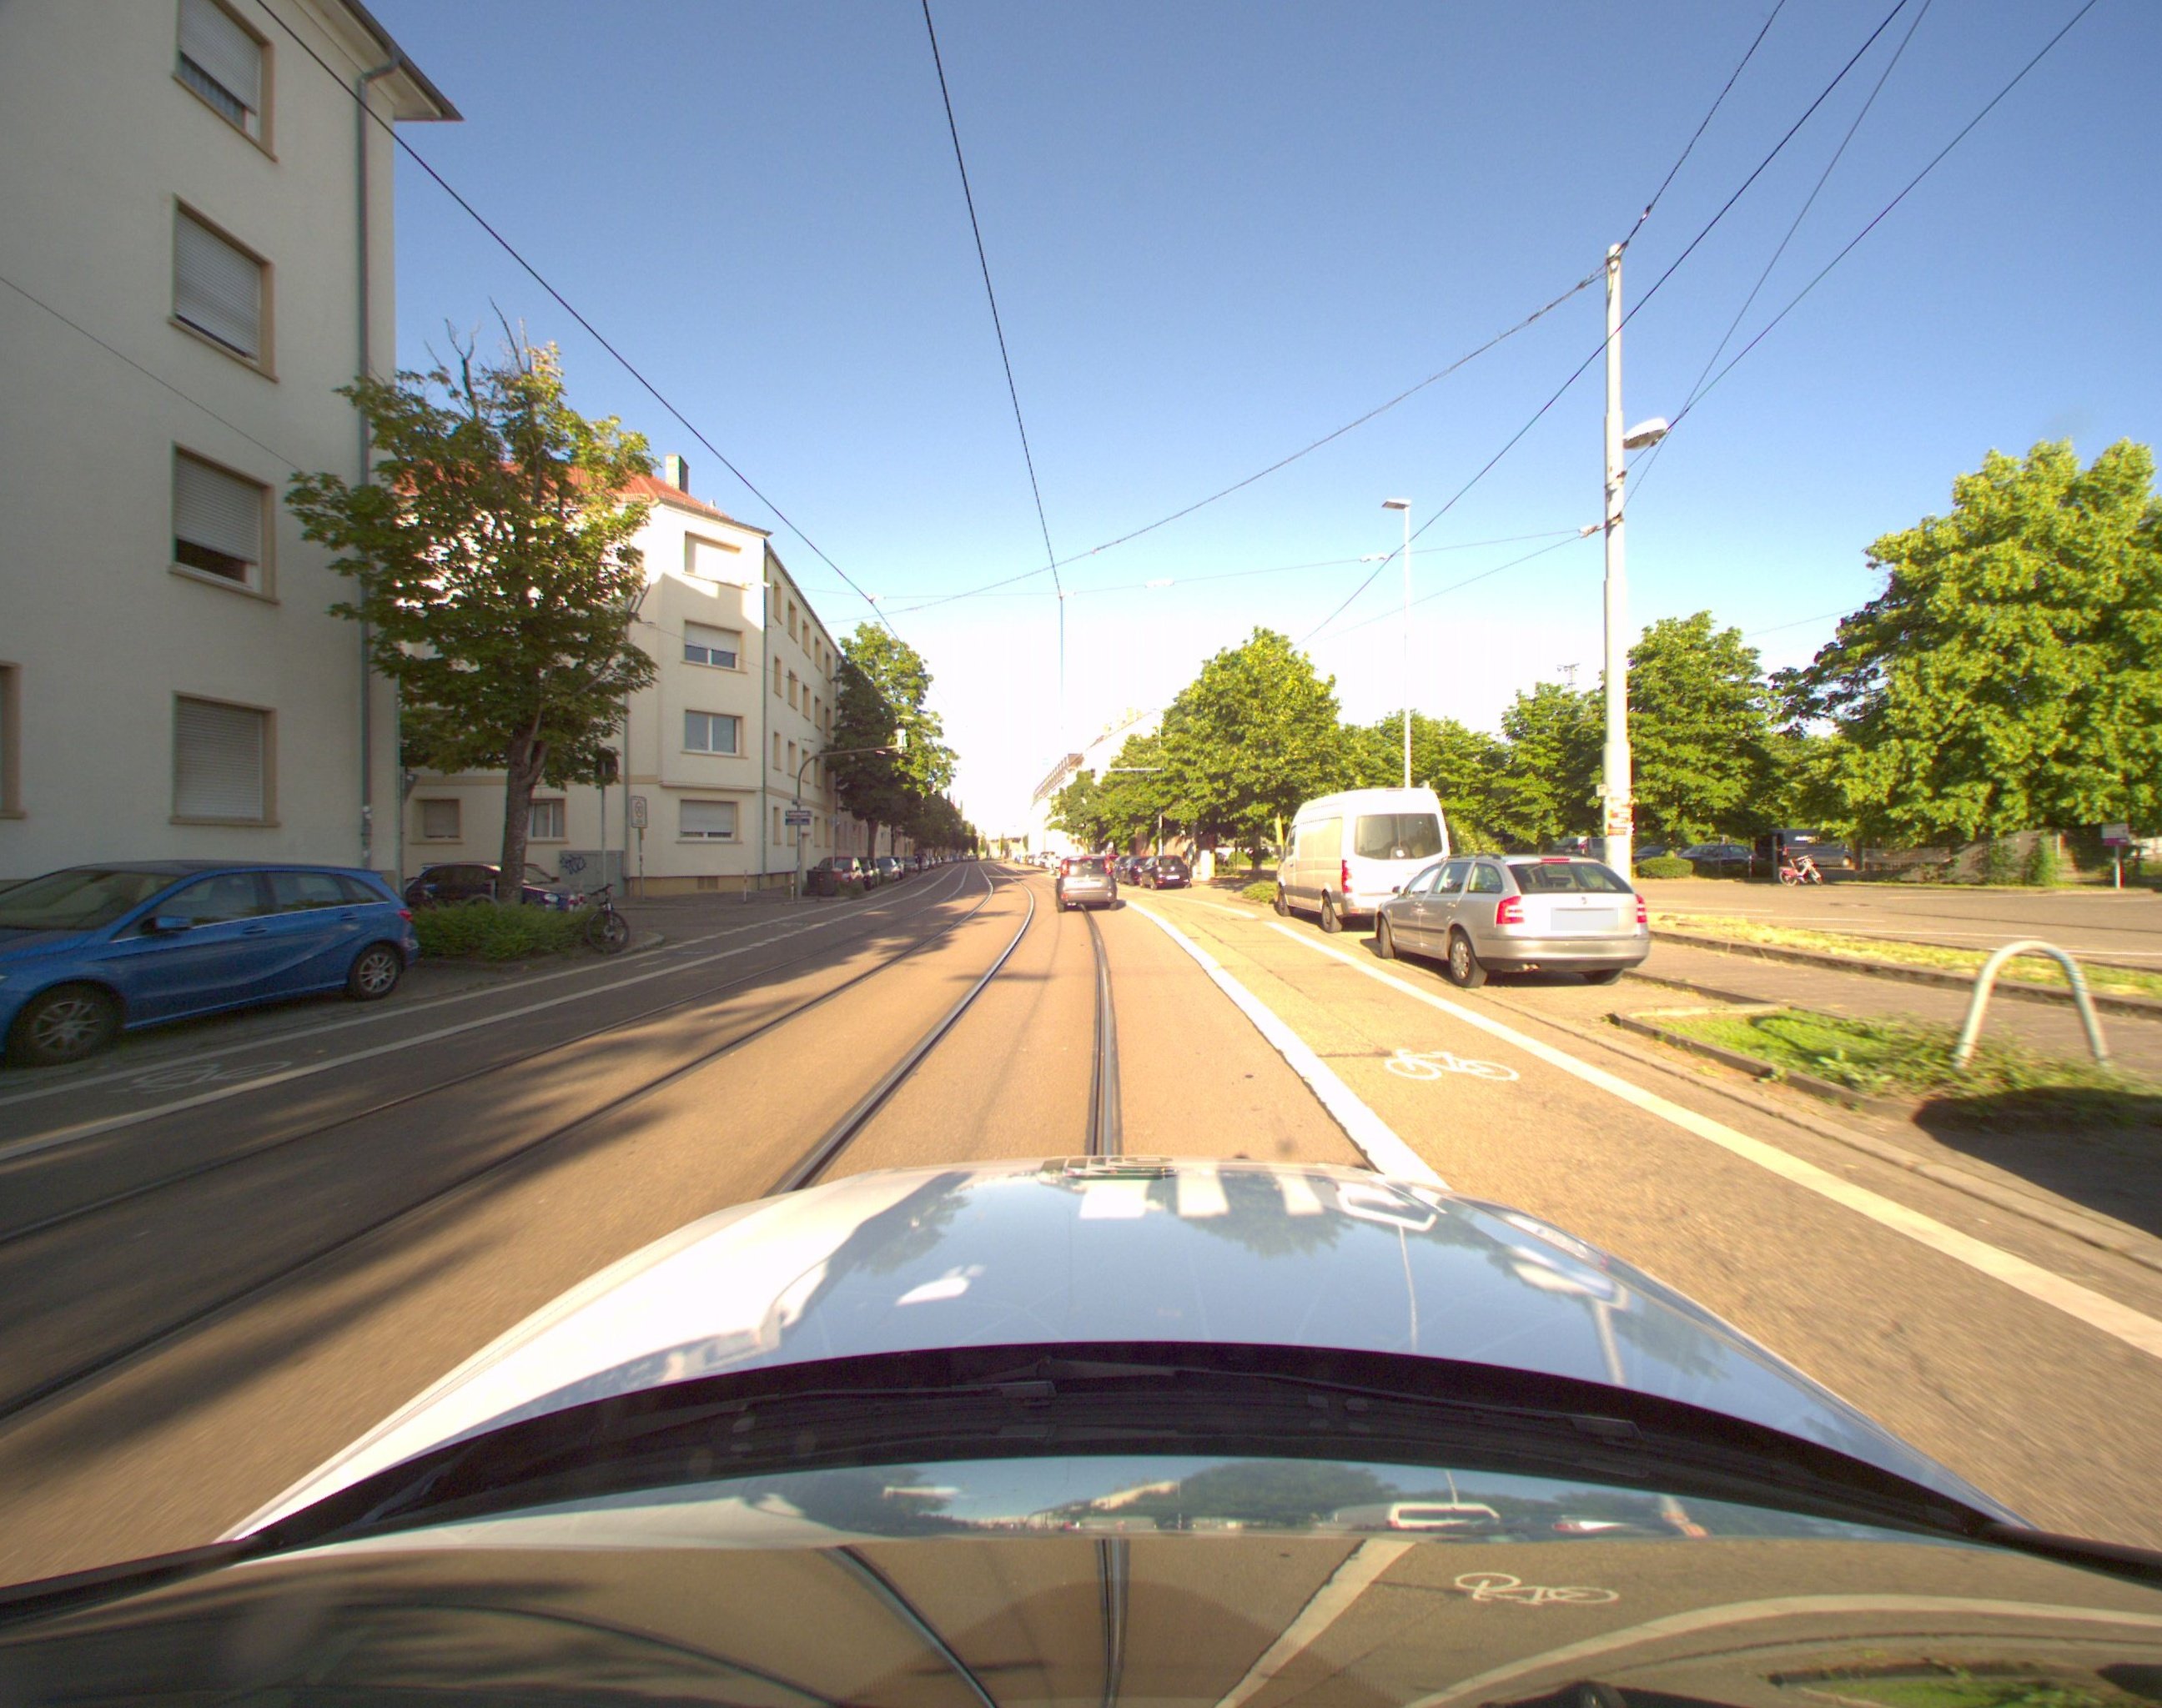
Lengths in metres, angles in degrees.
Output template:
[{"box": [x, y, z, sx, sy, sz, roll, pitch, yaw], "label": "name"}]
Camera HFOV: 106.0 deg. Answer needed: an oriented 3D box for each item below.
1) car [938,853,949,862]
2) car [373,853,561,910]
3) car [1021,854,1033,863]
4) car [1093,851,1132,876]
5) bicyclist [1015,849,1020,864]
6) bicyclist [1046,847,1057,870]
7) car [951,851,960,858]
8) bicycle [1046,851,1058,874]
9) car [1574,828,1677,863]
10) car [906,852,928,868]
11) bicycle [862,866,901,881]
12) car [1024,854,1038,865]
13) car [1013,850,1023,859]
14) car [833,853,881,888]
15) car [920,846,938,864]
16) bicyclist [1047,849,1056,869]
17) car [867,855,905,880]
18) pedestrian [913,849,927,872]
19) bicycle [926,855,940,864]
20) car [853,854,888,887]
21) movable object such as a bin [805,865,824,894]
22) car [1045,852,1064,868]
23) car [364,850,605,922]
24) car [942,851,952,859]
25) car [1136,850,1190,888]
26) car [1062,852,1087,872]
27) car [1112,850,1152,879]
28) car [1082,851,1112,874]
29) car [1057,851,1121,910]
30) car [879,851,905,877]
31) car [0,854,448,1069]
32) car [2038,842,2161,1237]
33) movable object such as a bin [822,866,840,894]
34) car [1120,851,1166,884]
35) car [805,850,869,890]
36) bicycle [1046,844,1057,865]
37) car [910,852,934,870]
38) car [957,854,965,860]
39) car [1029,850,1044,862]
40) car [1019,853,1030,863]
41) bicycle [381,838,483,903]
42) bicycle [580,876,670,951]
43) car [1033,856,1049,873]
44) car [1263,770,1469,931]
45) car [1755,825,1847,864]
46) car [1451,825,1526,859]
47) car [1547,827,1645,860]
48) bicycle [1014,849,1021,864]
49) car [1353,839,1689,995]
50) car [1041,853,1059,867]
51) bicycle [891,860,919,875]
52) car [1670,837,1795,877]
[{"box": [-24.531, 0.633, 145.471, 1.705, 1.497, 3.713, 1, 0, -7], "label": "car"}, {"box": [-17.871, 0.778, 23.858, 3.974, 1.530, 1.907, 1, 0, 0], "label": "car"}, {"box": [-8.515, 0.662, 127.800, 1.582, 1.405, 3.366, 1, 0, -9], "label": "car"}, {"box": [1.986, 0.580, 52.963, 1.689, 1.530, 3.986, -2, 0, -10], "label": "car"}, {"box": [-8.940, 0.355, 114.619, 0.715, 2.014, 0.829, 1, 0, -9], "label": "bicyclist"}, {"box": [-2.229, 0.318, 62.007, 0.699, 1.759, 0.755, 1, 0, -9], "label": "bicyclist"}, {"box": [-26.755, 0.171, 174.044, 1.705, 1.497, 3.713, 1, 0, -7], "label": "car"}, {"box": [-2.243, 0.660, 62.176, 0.675, 1.747, 2.151, 1, 0, -8], "label": "bicycle"}, {"box": [30.428, -0.455, 45.578, 4.677, 1.816, 1.958, 1, 0, -7], "label": "car"}, {"box": [-16.667, 0.615, 82.958, 1.807, 1.508, 4.668, 1, 0, -8], "label": "car"}, {"box": [-11.379, 1.132, 46.476, 2.126, 0.824, 0.476, 1, 0, -9], "label": "bicycle"}, {"box": [-7.106, 0.802, 115.529, 1.582, 1.405, 3.366, -4, 0, -9], "label": "car"}, {"box": [-12.361, 0.083, 159.719, 1.582, 1.599, 3.366, 1, 0, -9], "label": "car"}, {"box": [-10.461, 0.743, 38.245, 1.786, 1.530, 3.844, 1, 0, -10], "label": "car"}, {"box": [-16.884, 0.099, 90.628, 1.807, 1.943, 4.322, 1, 0, -8], "label": "car"}, {"box": [-2.604, 0.457, 71.374, 0.699, 1.759, 0.755, 1, 0, -9], "label": "bicyclist"}, {"box": [-11.922, 0.806, 49.971, 1.687, 1.475, 4.649, 1, 0, -6], "label": "car"}, {"box": [-12.412, 0.481, 62.711, 0.854, 1.776, 0.729, -2, 1, -28], "label": "pedestrian"}, {"box": [-19.749, 0.778, 108.604, 1.729, 1.196, 0.371, 1, 0, -12], "label": "bicycle"}, {"box": [-10.922, 0.833, 42.485, 1.592, 1.614, 3.716, 1, 0, -12], "label": "car"}, {"box": [-9.384, 0.894, 28.730, 0.484, 0.987, 0.658, 1, 0, -5], "label": "movable object such as a bin"}, {"box": [-2.793, 0.615, 86.014, 1.654, 1.571, 3.489, 1, 0, -8], "label": "car"}, {"box": [-12.911, 0.675, 17.824, 3.876, 1.458, 1.767, 1, 0, -2], "label": "car"}, {"box": [-26.335, 0.255, 160.195, 1.705, 1.497, 3.713, 1, 0, -7], "label": "car"}, {"box": [3.613, 0.637, 36.426, 1.686, 1.530, 3.994, -2, 0, -4], "label": "car"}, {"box": [-0.530, 0.649, 67.775, 1.634, 1.508, 3.388, -3, 0, -7], "label": "car"}, {"box": [2.820, 0.587, 46.070, 1.686, 1.530, 3.994, -2, 0, -4], "label": "car"}, {"box": [1.119, 0.588, 58.547, 1.686, 1.530, 3.994, -2, 0, -4], "label": "car"}, {"box": [0.281, 0.682, 23.111, 1.643, 1.541, 4.237, 0, 0, 2], "label": "car"}, {"box": [-12.897, 0.649, 55.716, 1.652, 1.668, 4.279, 1, 0, -12], "label": "car"}, {"box": [-8.766, 0.794, 7.703, 1.784, 1.561, 4.644, 1, 0, 2], "label": "car"}, {"box": [4.917, 0.687, 1.361, 1.721, 1.512, 4.254, -2, 0, 2], "label": "car"}, {"box": [-8.850, 0.909, 28.824, 0.484, 0.987, 0.658, 1, 0, -5], "label": "movable object such as a bin"}, {"box": [3.087, 0.654, 41.371, 1.686, 1.530, 4.348, -2, 0, -4], "label": "car"}, {"box": [-9.985, 0.636, 33.610, 1.685, 1.530, 3.994, 1, 0, -4], "label": "car"}, {"box": [-2.568, 0.049, 71.266, 0.675, 1.747, 2.151, 1, 0, -8], "label": "bicycle"}, {"box": [-14.306, 0.609, 73.479, 1.807, 1.508, 4.180, 1, 0, -8], "label": "car"}, {"box": [-27.851, 0.717, 189.642, 1.705, 1.497, 3.713, 1, 0, -7], "label": "car"}, {"box": [-5.886, 0.301, 107.465, 1.655, 1.500, 3.121, 1, 0, -8], "label": "car"}, {"box": [-9.380, 0.639, 134.335, 1.582, 1.599, 3.366, 1, 0, -9], "label": "car"}, {"box": [-12.554, 0.331, 15.782, 1.499, 1.229, 0.396, 1, -3, -7], "label": "bicycle"}, {"box": [-7.758, 0.970, 13.951, 0.511, 1.134, 2.028, 1, 0, -4], "label": "bicycle"}, {"box": [-4.999, 1.288, 101.381, 1.654, 1.944, 4.651, 1, 0, -8], "label": "car"}, {"box": [5.593, -0.054, 17.062, 2.172, 2.665, 6.092, -2, 0, 1], "label": "car"}, {"box": [43.713, -0.583, 49.500, 4.188, 2.301, 2.064, -1, 0, -10], "label": "car"}, {"box": [28.062, -0.823, 56.134, 4.188, 2.241, 2.136, -1, 0, -10], "label": "car"}, {"box": [30.317, -0.600, 47.995, 4.677, 1.816, 1.958, 1, 0, -7], "label": "car"}, {"box": [-8.968, 0.358, 114.462, 0.741, 2.014, 2.803, 1, 0, -8], "label": "bicycle"}, {"box": [5.147, 0.635, 10.419, 1.903, 1.530, 4.602, -1, 0, 1], "label": "car"}, {"box": [-3.478, 0.665, 90.811, 1.654, 1.571, 3.865, 1, 0, -8], "label": "car"}, {"box": [-12.903, 0.983, 59.694, 1.922, 1.046, 0.475, 1, 0, -7], "label": "bicycle"}, {"box": [30.961, 0.135, 38.784, 4.677, 1.816, 1.958, 1, 0, -7], "label": "car"}]
